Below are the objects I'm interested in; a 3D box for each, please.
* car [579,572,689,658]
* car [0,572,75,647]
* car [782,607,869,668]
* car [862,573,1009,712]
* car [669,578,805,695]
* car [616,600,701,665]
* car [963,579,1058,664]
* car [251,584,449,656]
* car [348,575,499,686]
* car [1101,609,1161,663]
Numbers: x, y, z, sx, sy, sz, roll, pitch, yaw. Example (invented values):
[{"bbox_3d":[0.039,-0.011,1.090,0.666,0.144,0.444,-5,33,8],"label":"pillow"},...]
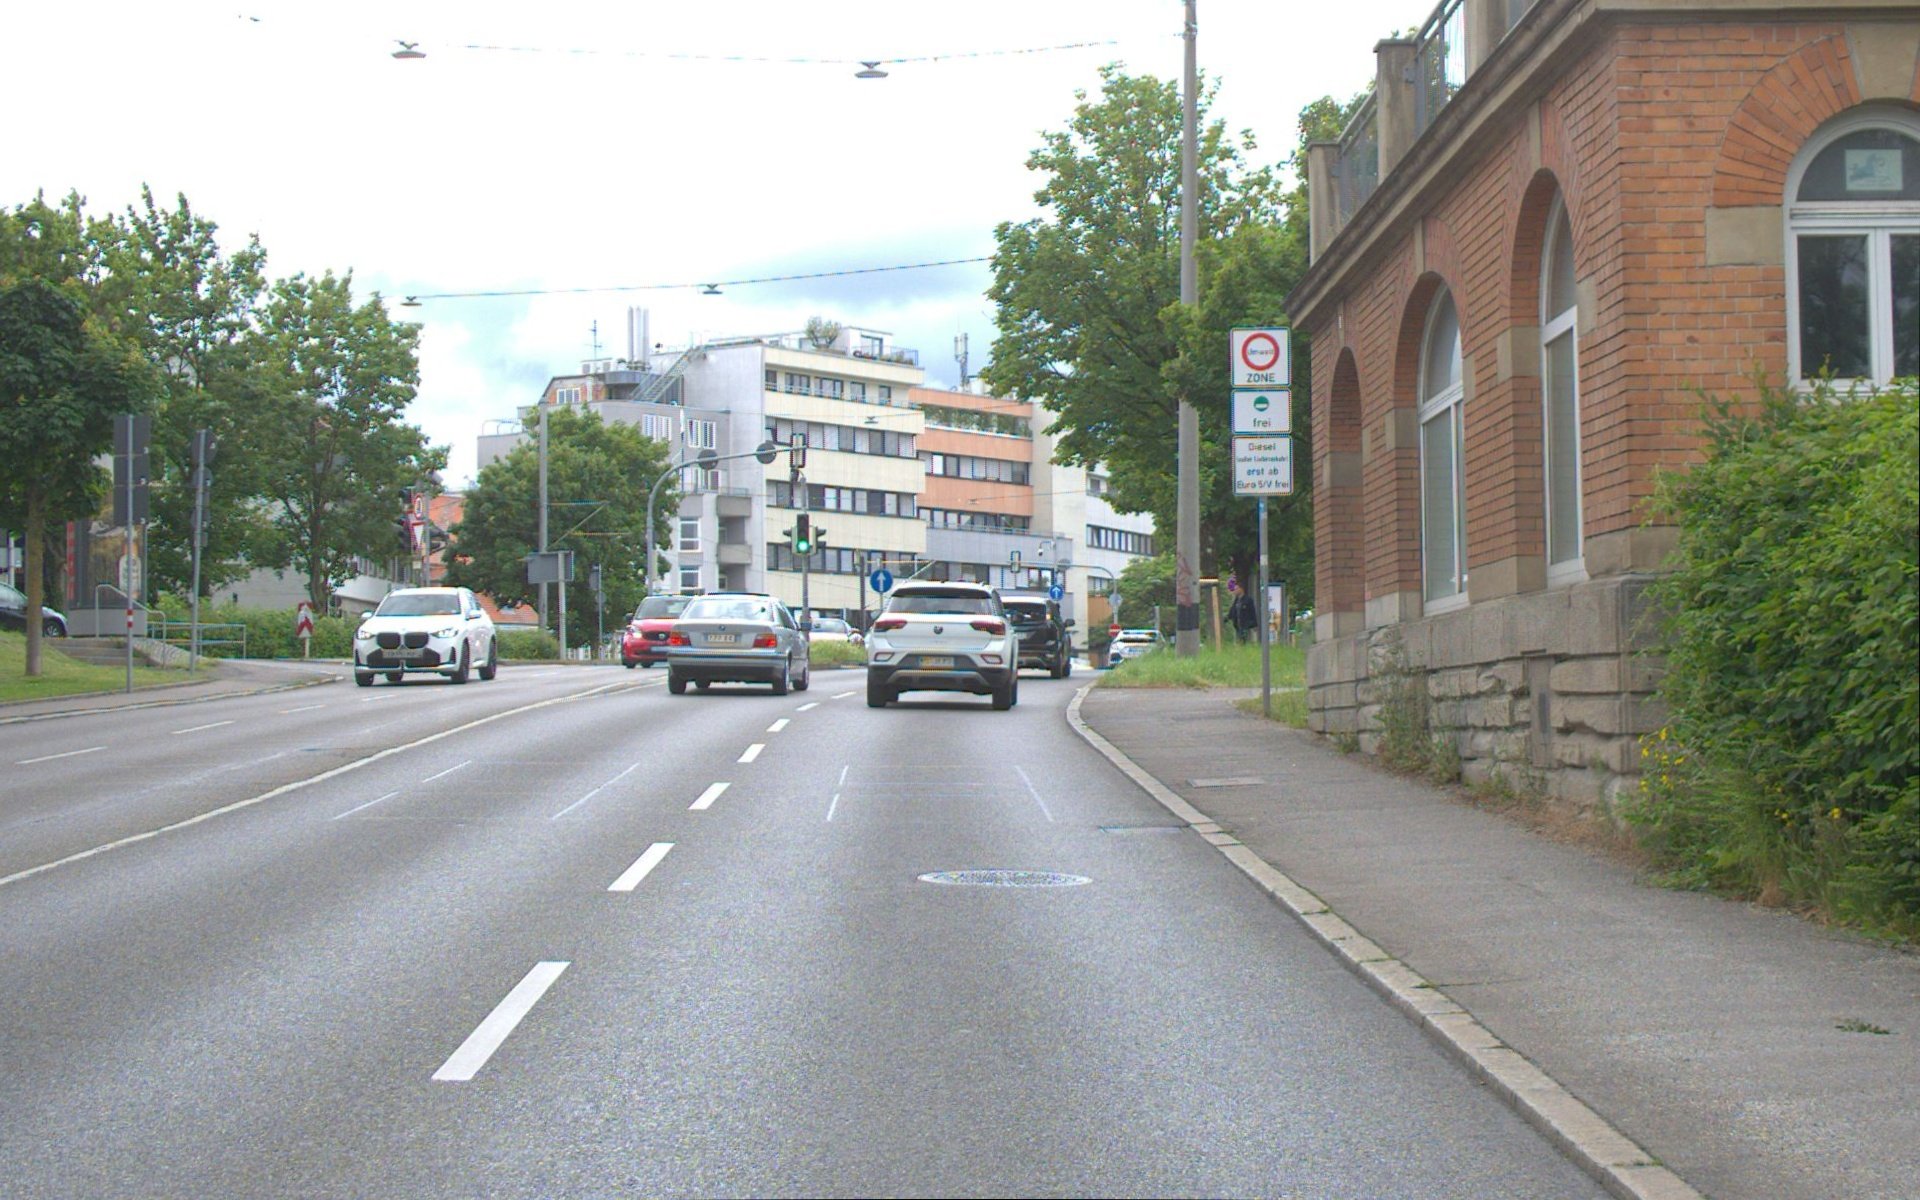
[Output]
[{"bbox_3d":[-6.955,0.293,73.713,1.869,1.696,4.429,-3,0,0],"label":"car"},{"bbox_3d":[-19.818,0.173,68.510,1.778,1.458,4.434,2,1,25],"label":"car"},{"bbox_3d":[-3.796,1.051,97.889,1.771,1.565,4.284,-3,0,7],"label":"car"},{"bbox_3d":[-0.318,0.495,43.172,1.700,1.543,3.736,3,1,-1],"label":"car"},{"bbox_3d":[-3.071,0.474,47.940,1.699,1.511,3.736,0,1,-1],"label":"car"},{"bbox_3d":[-7.658,0.808,87.661,1.747,1.489,4.207,-3,0,0],"label":"car"},{"bbox_3d":[0.920,0.408,63.354,1.700,1.511,3.493,0,-1,0],"label":"car"},{"bbox_3d":[-13.330,0.429,75.313,1.780,1.539,3.990,0,0,44],"label":"car"},{"bbox_3d":[-9.378,0.493,60.416,1.869,1.783,4.654,-3,0,0],"label":"car"},{"bbox_3d":[5.304,1.103,106.379,1.770,1.565,4.284,0,0,4],"label":"car"}]
